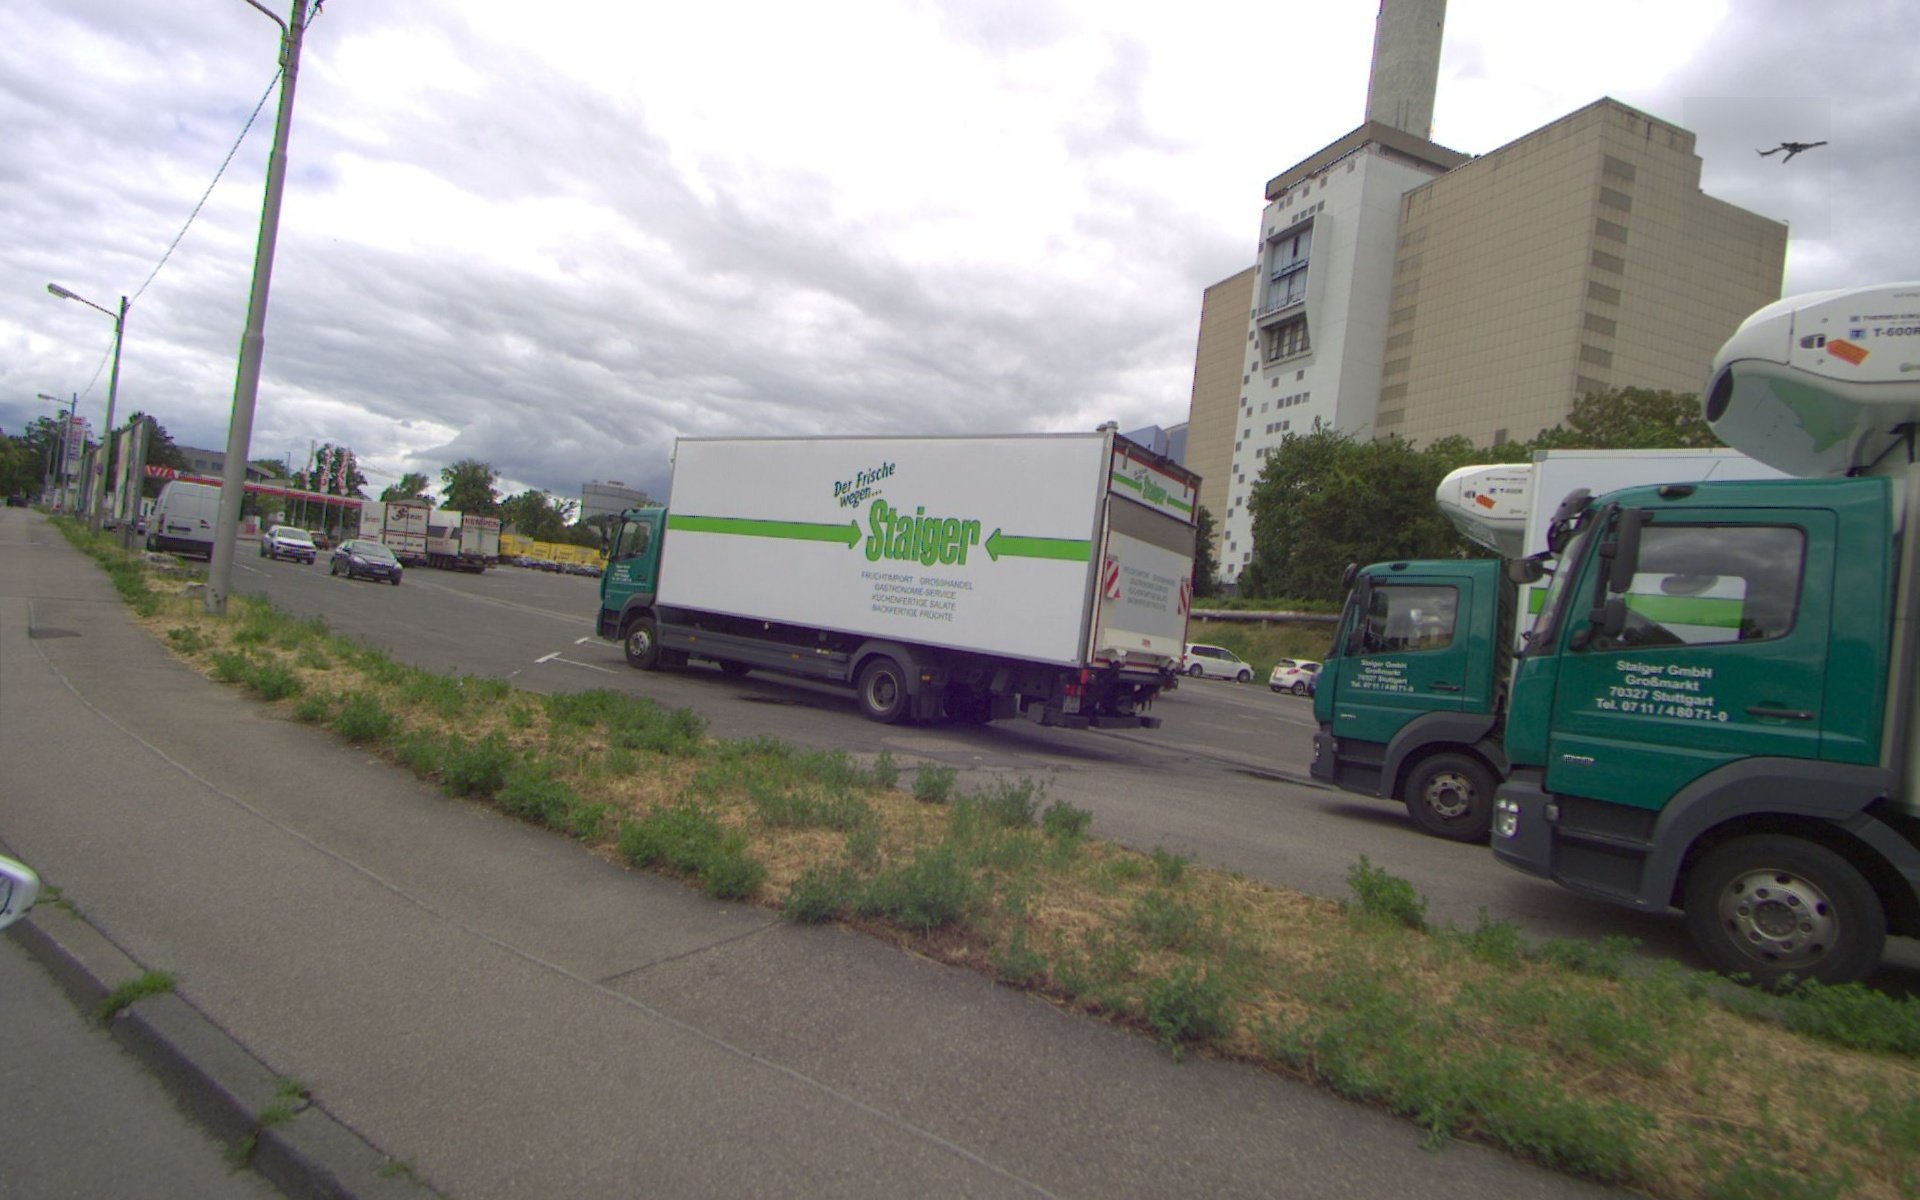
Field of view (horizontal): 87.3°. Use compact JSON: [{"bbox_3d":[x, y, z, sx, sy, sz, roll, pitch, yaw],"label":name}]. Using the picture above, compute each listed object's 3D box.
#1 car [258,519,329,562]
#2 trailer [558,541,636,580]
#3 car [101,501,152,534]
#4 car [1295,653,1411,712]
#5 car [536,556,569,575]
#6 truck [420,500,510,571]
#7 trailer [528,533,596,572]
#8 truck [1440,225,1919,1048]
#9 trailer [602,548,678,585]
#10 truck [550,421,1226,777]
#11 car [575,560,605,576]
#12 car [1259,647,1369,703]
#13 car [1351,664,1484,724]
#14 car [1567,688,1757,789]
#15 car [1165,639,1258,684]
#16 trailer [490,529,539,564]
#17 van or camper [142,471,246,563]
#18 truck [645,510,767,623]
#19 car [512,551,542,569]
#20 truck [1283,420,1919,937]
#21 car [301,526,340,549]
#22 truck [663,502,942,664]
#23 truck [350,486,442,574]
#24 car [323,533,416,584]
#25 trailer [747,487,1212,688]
[{"bbox_3d":[-31.879,-2.870,48.100,4.372,1.631,1.885,6,-1,45],"label":"car"},{"bbox_3d":[-51.113,-5.616,140.994,3.586,3.911,17.810,7,0,-42],"label":"trailer"},{"bbox_3d":[-47.636,-4.701,57.447,1.885,1.461,4.376,10,-3,-42],"label":"car"},{"bbox_3d":[16.075,3.371,41.190,3.942,1.815,1.993,8,-1,-18],"label":"car"},{"bbox_3d":[-44.569,-3.776,110.065,1.987,1.637,3.952,7,-1,-42],"label":"car"},{"bbox_3d":[-34.341,-4.502,69.581,3.295,4.196,8.416,7,0,-41],"label":"truck"},{"bbox_3d":[-54.624,-6.601,137.782,2.861,4.202,14.735,7,0,-44],"label":"trailer"},{"bbox_3d":[7.158,0.503,4.495,8.463,3.673,3.068,6,-2,32],"label":"truck"},{"bbox_3d":[-48.199,-5.133,151.046,3.586,3.911,17.810,7,0,-42],"label":"trailer"},{"bbox_3d":[-1.697,-0.359,15.136,10.272,3.875,2.981,7,-1,37],"label":"truck"},{"bbox_3d":[-46.063,-4.003,125.208,1.987,1.637,3.952,7,-1,-42],"label":"car"},{"bbox_3d":[15.282,3.244,43.518,3.942,1.815,1.993,8,-1,-18],"label":"car"},{"bbox_3d":[16.531,3.400,36.404,3.942,1.548,1.993,8,-1,-18],"label":"car"},{"bbox_3d":[18.480,3.639,26.532,3.941,2.075,1.993,7,0,-18],"label":"car"},{"bbox_3d":[12.625,3.085,50.616,3.938,1.659,1.995,8,-1,-14],"label":"car"},{"bbox_3d":[-57.224,-6.891,129.157,3.005,3.739,7.396,7,0,-44],"label":"trailer"},{"bbox_3d":[-26.862,-2.895,35.183,2.248,2.679,6.042,7,-1,-42],"label":"van or camper"},{"bbox_3d":[-11.014,-1.451,43.635,4.012,4.265,2.701,8,1,35],"label":"truck"},{"bbox_3d":[-52.043,-4.816,120.785,1.987,1.638,3.896,8,0,-43],"label":"car"},{"bbox_3d":[7.608,0.730,8.455,8.466,3.670,3.070,6,-4,34],"label":"truck"},{"bbox_3d":[-57.524,-5.618,90.467,3.949,1.726,1.989,6,-1,45],"label":"car"},{"bbox_3d":[-4.957,-0.557,31.349,7.895,4.050,3.070,6,-1,27],"label":"truck"},{"bbox_3d":[-37.818,-4.732,67.312,3.295,5.156,8.415,7,0,-41],"label":"truck"},{"bbox_3d":[-22.533,-1.591,38.321,4.372,1.461,1.887,6,-3,45],"label":"car"},{"bbox_3d":[0.196,-0.516,28.802,12.871,4.026,3.061,8,1,27],"label":"trailer"}]
